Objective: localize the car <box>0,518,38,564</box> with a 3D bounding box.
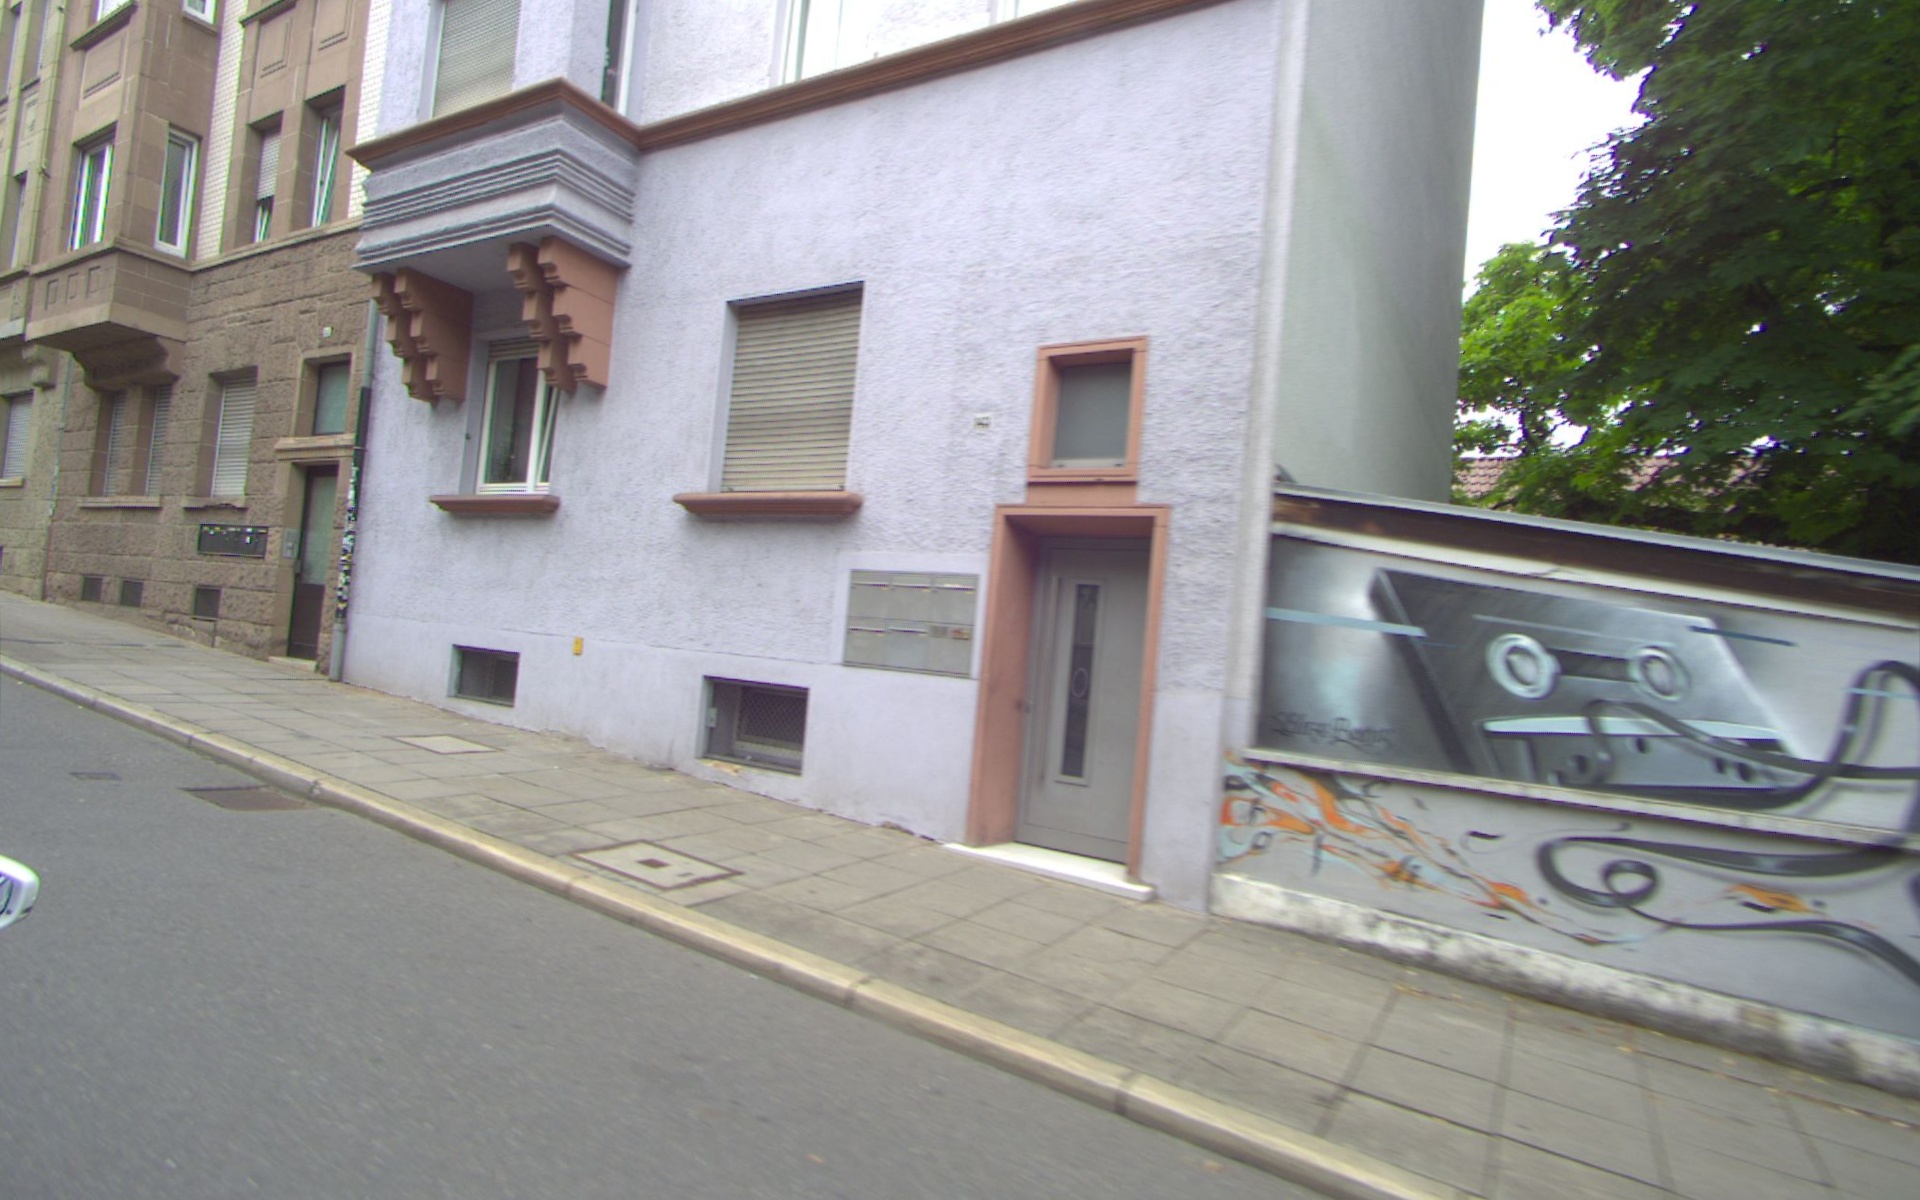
[{"bbox_3d":[-32.929,-2.223,32.546,1.752,1.300,4.138,10,-2,29],"label":"car"}]
